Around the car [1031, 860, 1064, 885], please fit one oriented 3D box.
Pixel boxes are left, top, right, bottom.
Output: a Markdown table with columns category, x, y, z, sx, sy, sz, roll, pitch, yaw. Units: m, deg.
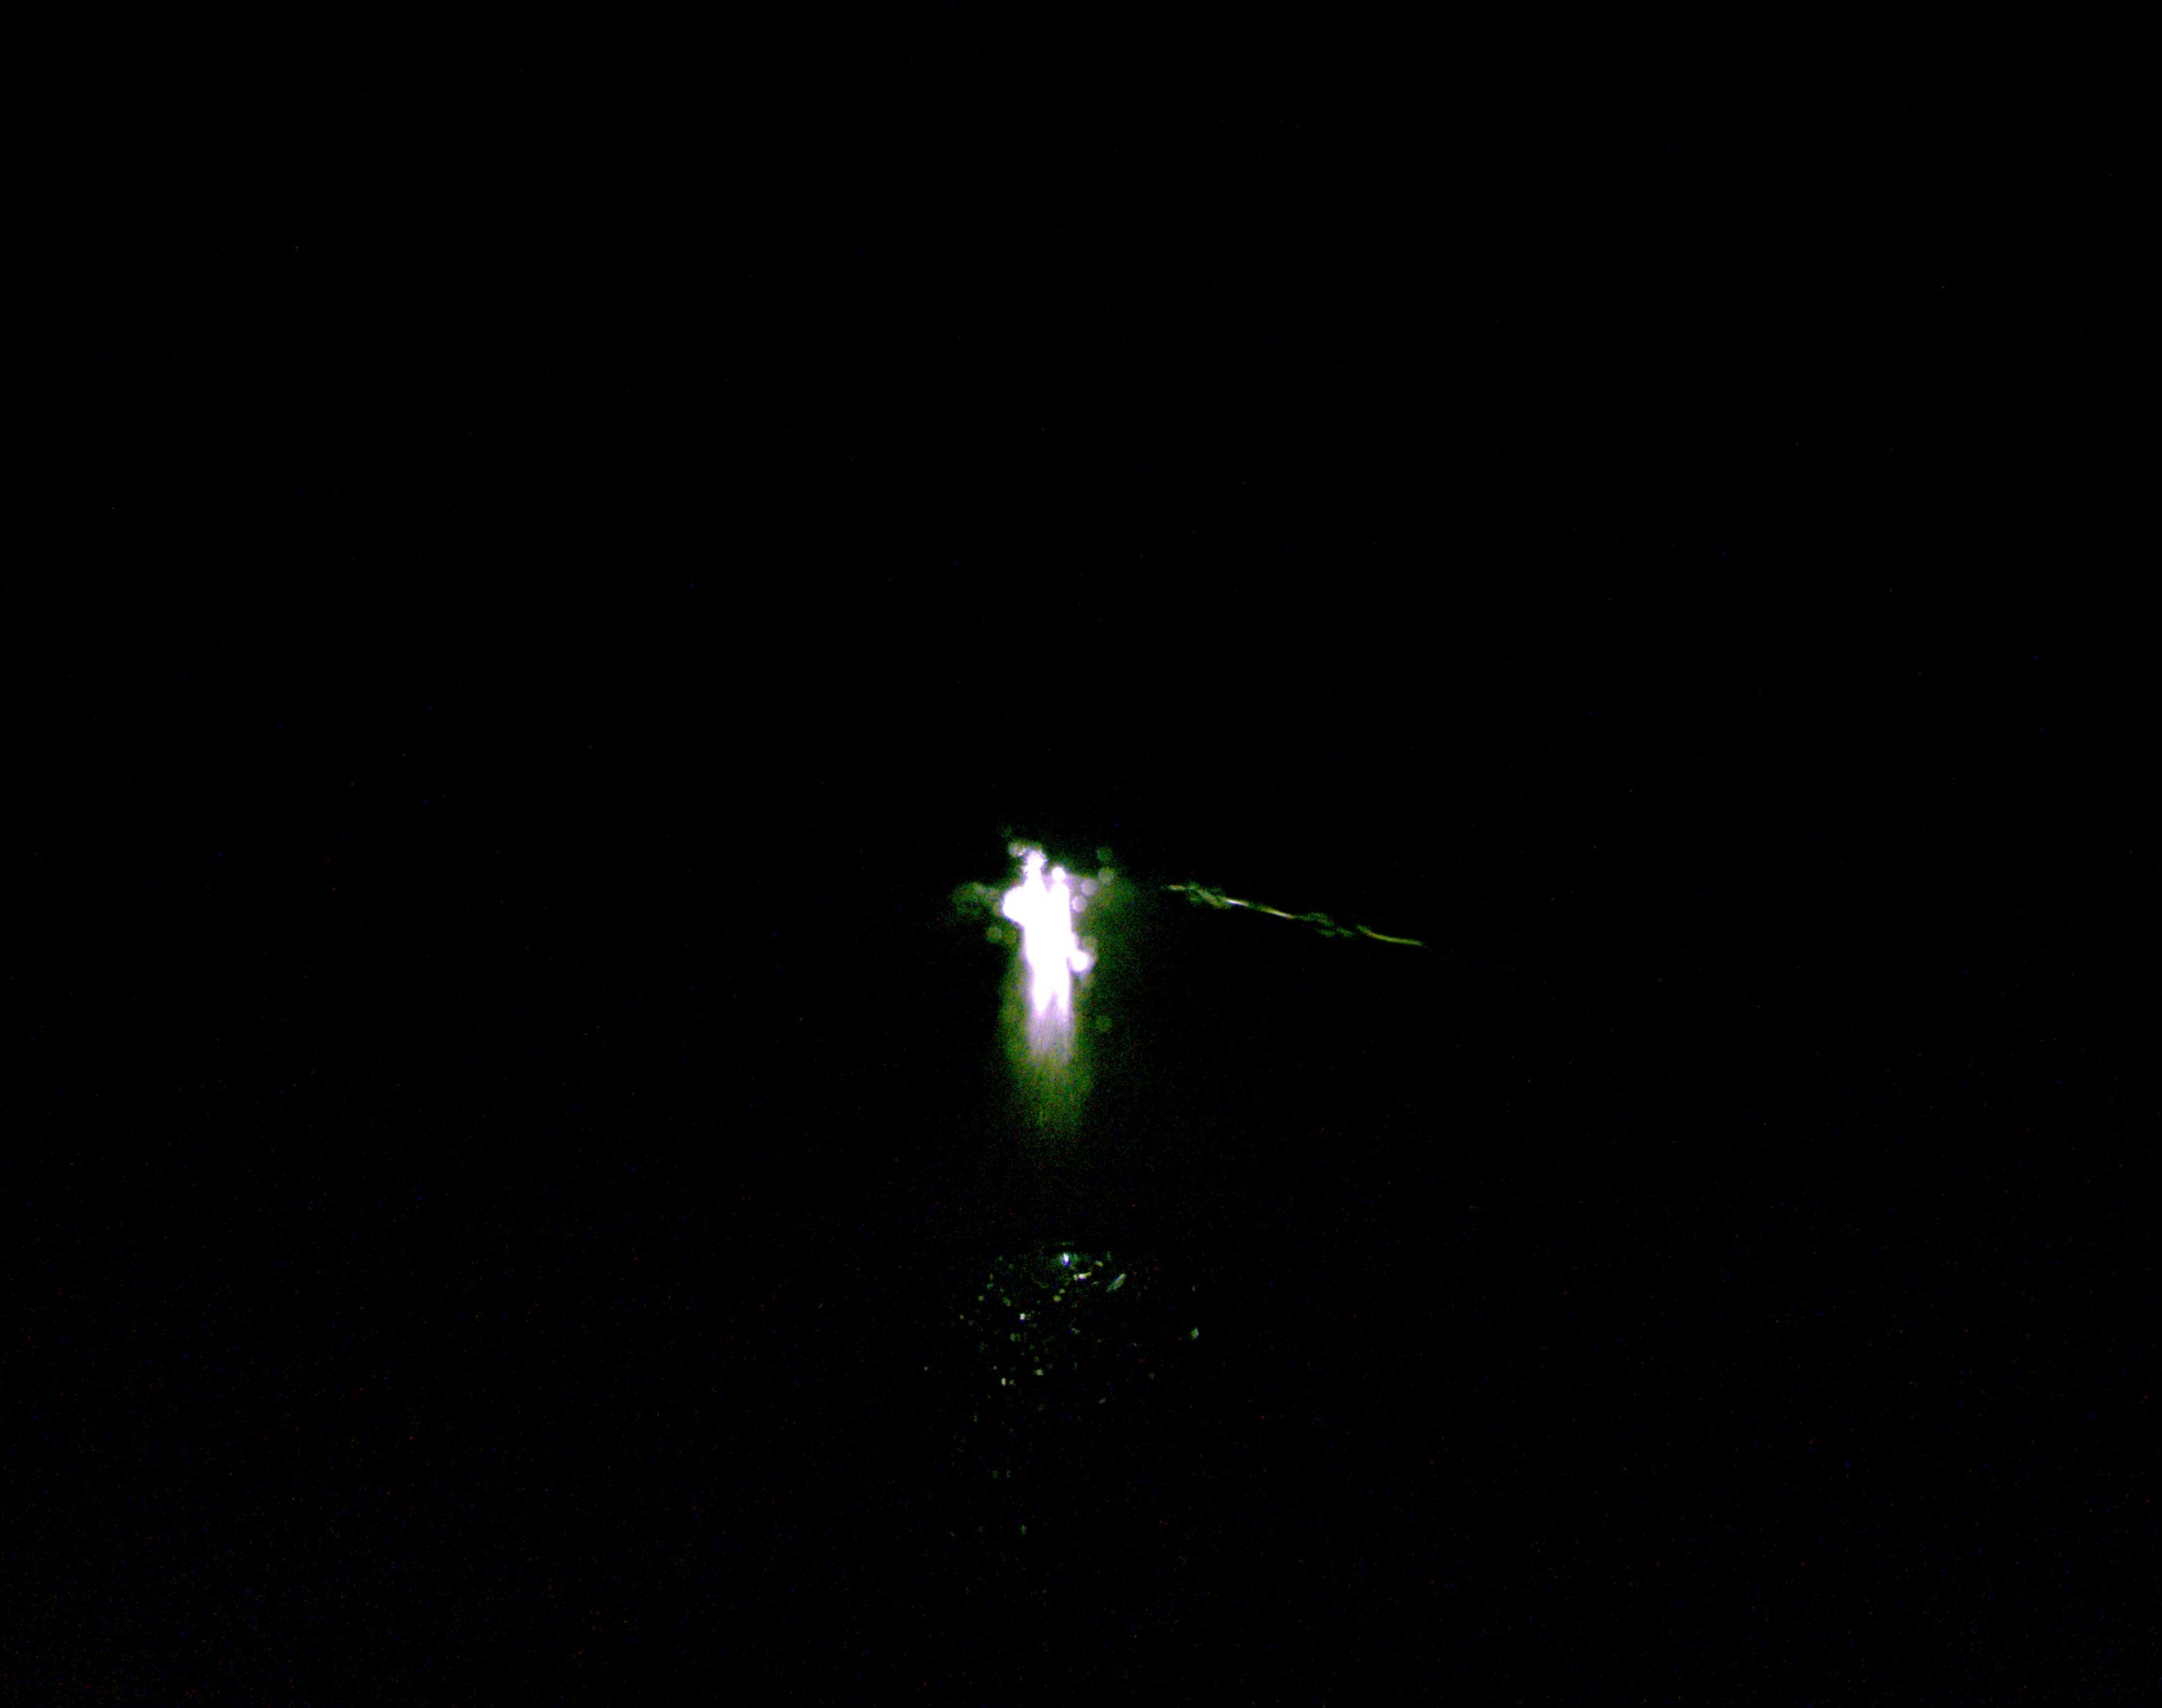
| category | x | y | z | sx | sy | sz | roll | pitch | yaw |
| --- | --- | --- | --- | --- | --- | --- | --- | --- | --- |
| car | -2.225 | 1.179 | 49.942 | 1.999 | 1.412 | 3.998 | -2 | 1 | -5 |
